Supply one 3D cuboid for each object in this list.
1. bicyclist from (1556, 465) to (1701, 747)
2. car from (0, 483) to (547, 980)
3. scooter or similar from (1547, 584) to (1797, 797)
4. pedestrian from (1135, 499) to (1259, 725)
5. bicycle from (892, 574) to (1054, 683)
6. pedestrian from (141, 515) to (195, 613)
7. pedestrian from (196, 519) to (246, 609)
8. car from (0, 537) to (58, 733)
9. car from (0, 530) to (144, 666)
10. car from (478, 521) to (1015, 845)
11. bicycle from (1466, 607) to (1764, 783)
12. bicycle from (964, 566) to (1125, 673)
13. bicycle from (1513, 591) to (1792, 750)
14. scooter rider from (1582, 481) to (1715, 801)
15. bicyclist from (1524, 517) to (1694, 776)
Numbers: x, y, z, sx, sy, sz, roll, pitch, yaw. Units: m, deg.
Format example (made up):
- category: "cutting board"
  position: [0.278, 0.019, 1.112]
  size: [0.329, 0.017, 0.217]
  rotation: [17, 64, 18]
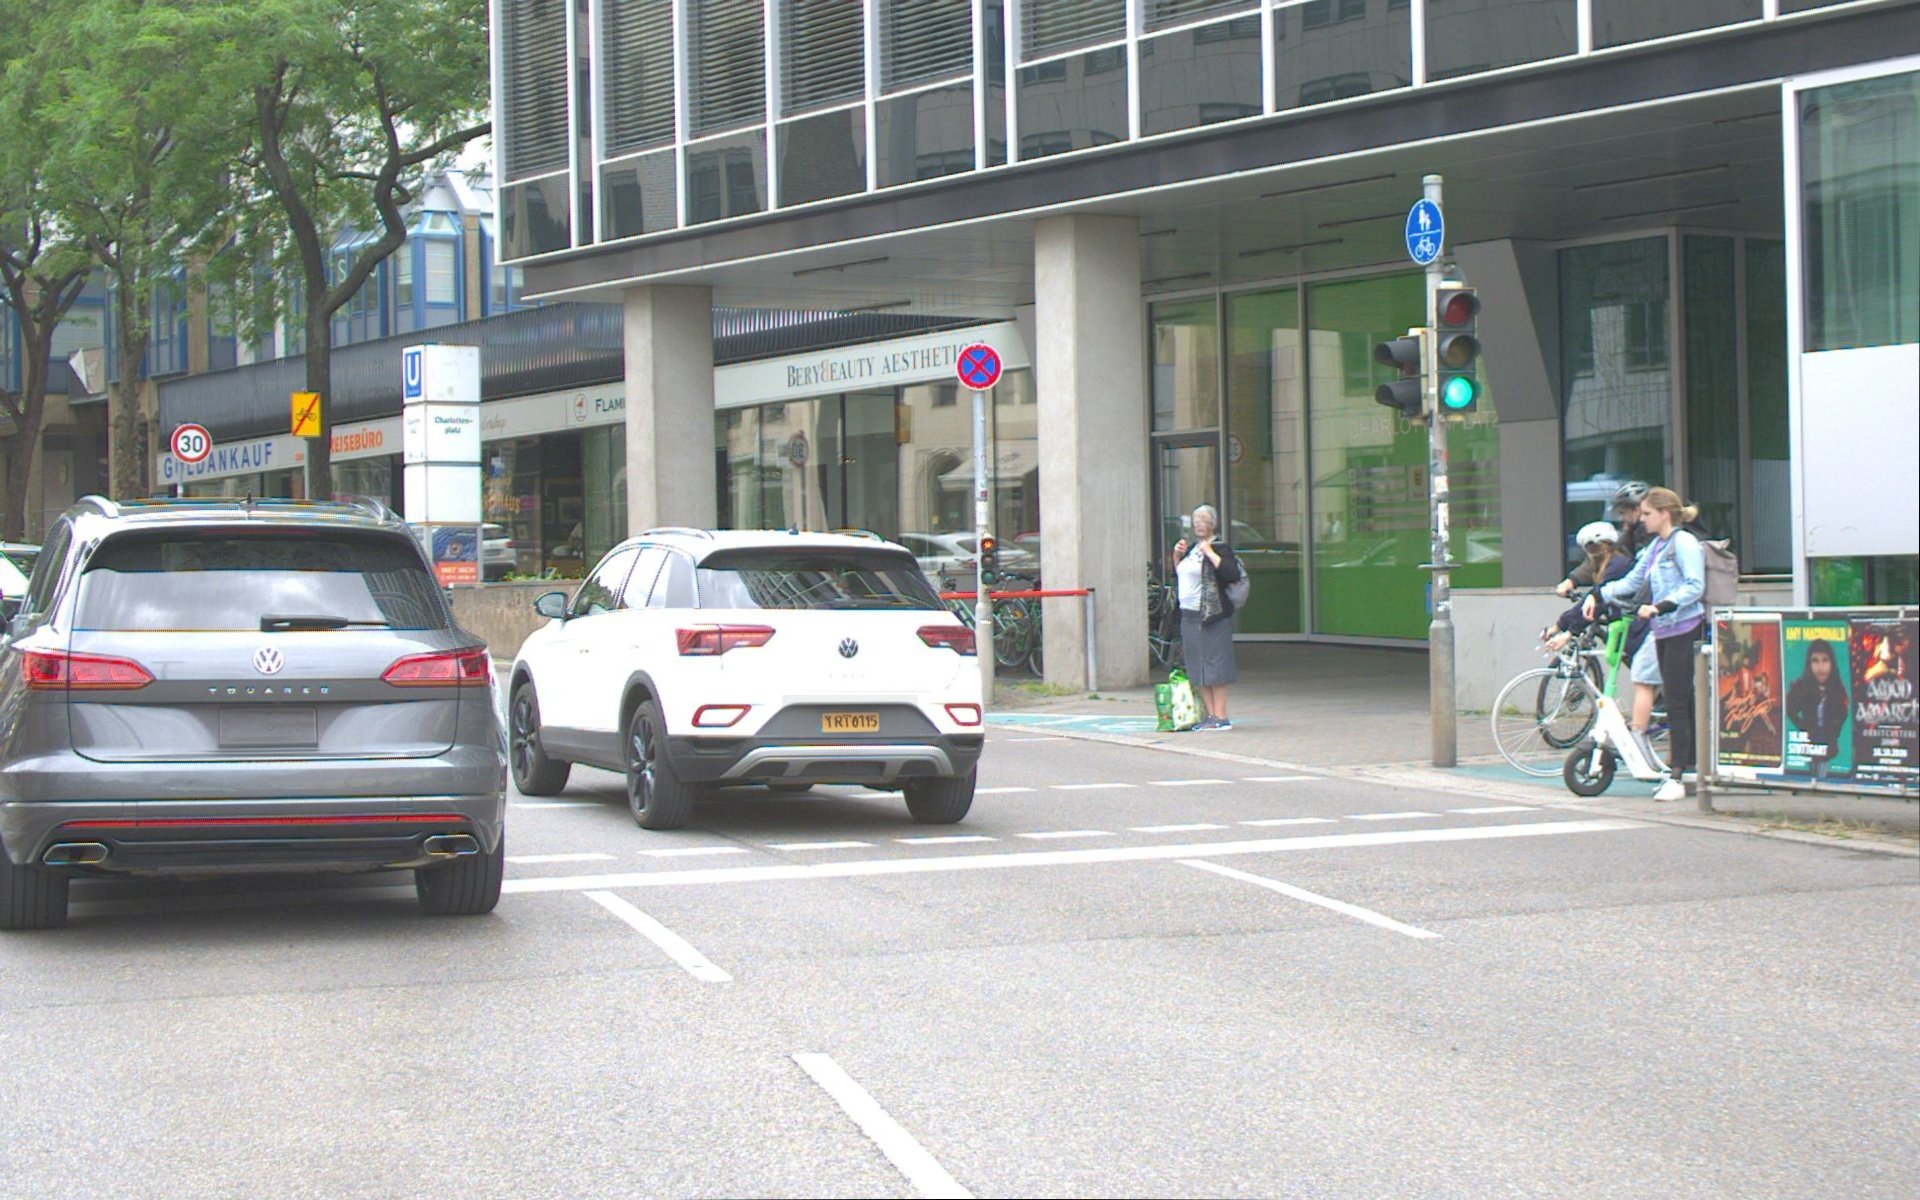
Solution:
- category: "bicyclist"
  position: [4.572, 0.032, 23.539]
  size: [0.811, 1.839, 0.675]
  rotation: [-2, 5, 0]
- category: "car"
  position: [-3.074, 0.399, 14.242]
  size: [1.969, 1.689, 4.226]
  rotation: [-2, 2, -17]
- category: "scooter or similar"
  position: [4.079, 0.517, 19.676]
  size: [1.320, 1.172, 0.593]
  rotation: [-1, 1, 18]
- category: "pedestrian"
  position: [1.824, 0.093, 26.516]
  size: [0.525, 1.706, 0.753]
  rotation: [-3, 0, -36]
- category: "bicycle"
  position: [0.124, 0.273, 34.031]
  size: [1.485, 1.044, 0.712]
  rotation: [1, 1, 39]
- category: "pedestrian"
  position: [-14.314, -0.657, 62.112]
  size: [0.595, 1.748, 0.940]
  rotation: [-2, 2, -36]
- category: "pedestrian"
  position: [-13.467, -0.660, 62.640]
  size: [0.595, 1.623, 0.757]
  rotation: [-2, 2, -36]
- category: "car"
  position: [-8.363, 0.224, 27.492]
  size: [1.833, 1.390, 4.149]
  rotation: [0, 2, -20]
- category: "car"
  position: [-10.756, -0.064, 39.817]
  size: [1.833, 1.427, 4.149]
  rotation: [0, 2, -24]
- category: "car"
  position: [-1.291, 0.379, 18.908]
  size: [1.797, 1.540, 3.936]
  rotation: [-2, 1, -21]
- category: "bicycle"
  position: [3.996, 0.575, 21.020]
  size: [1.667, 1.023, 0.580]
  rotation: [-1, 1, 31]
- category: "bicycle"
  position: [0.840, 0.183, 34.447]
  size: [1.485, 1.044, 0.712]
  rotation: [1, 1, 39]
- category: "bicycle"
  position: [4.735, 0.477, 23.580]
  size: [1.762, 1.003, 0.681]
  rotation: [-1, 3, -1]
- category: "scooter rider"
  position: [3.950, 0.229, 19.710]
  size: [0.642, 1.802, 0.593]
  rotation: [-1, 1, 18]
- category: "bicyclist"
  position: [3.972, 0.280, 21.032]
  size: [0.845, 1.544, 0.564]
  rotation: [-1, 1, 31]
